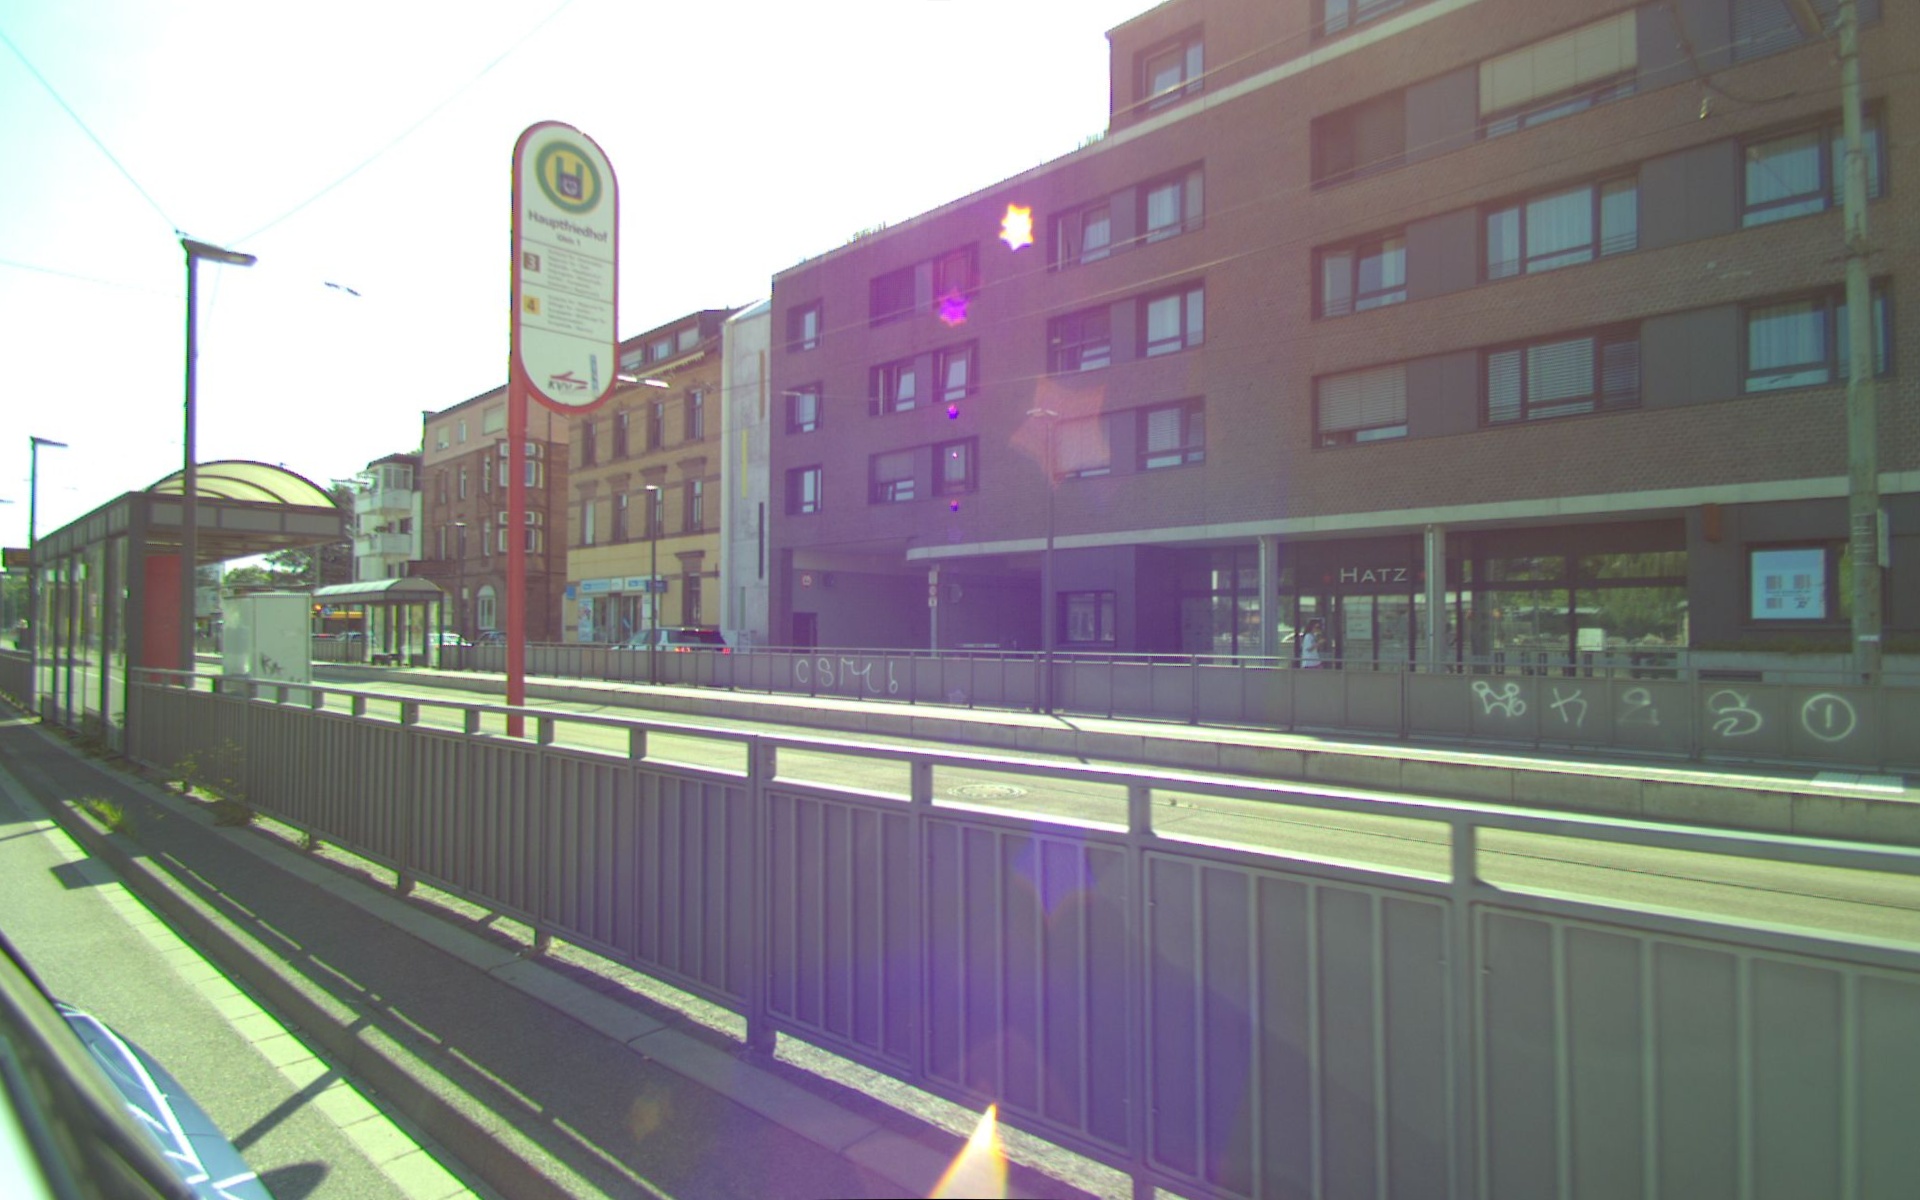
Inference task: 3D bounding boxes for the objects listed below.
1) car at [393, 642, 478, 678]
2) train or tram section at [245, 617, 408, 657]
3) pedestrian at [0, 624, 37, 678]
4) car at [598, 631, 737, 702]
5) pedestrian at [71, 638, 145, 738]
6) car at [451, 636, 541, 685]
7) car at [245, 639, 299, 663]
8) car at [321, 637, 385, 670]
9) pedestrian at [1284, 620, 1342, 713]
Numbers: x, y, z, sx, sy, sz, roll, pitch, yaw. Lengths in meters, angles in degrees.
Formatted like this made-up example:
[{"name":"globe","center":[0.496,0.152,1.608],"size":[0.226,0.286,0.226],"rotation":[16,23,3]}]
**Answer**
[{"name":"car","center":[-21.259,2.388,40.965],"size":[4.521,1.374,1.613],"rotation":[-2,-3,43]},{"name":"train or tram section","center":[-59.244,3.418,95.312],"size":[2.680,3.507,13.191],"rotation":[-1,-2,32]},{"name":"pedestrian","center":[-33.145,1.787,35.542],"size":[1.238,1.873,0.970],"rotation":[-2,-3,43]},{"name":"car","center":[-8.093,1.767,27.788],"size":[4.189,1.742,1.781],"rotation":[-2,-1,44]},{"name":"pedestrian","center":[-11.193,1.137,13.300],"size":[0.709,1.264,0.622],"rotation":[-2,-3,42]},{"name":"car","center":[-16.605,2.130,36.155],"size":[3.579,1.635,1.693],"rotation":[-2,-2,44]},{"name":"car","center":[-39.372,2.918,57.854],"size":[4.079,1.253,1.693],"rotation":[-2,-1,43]},{"name":"car","center":[-28.278,2.486,47.087],"size":[3.866,1.480,1.607],"rotation":[-3,-3,44]},{"name":"pedestrian","center":[7.168,1.337,20.551],"size":[0.839,1.833,0.835],"rotation":[-2,-3,43]}]
